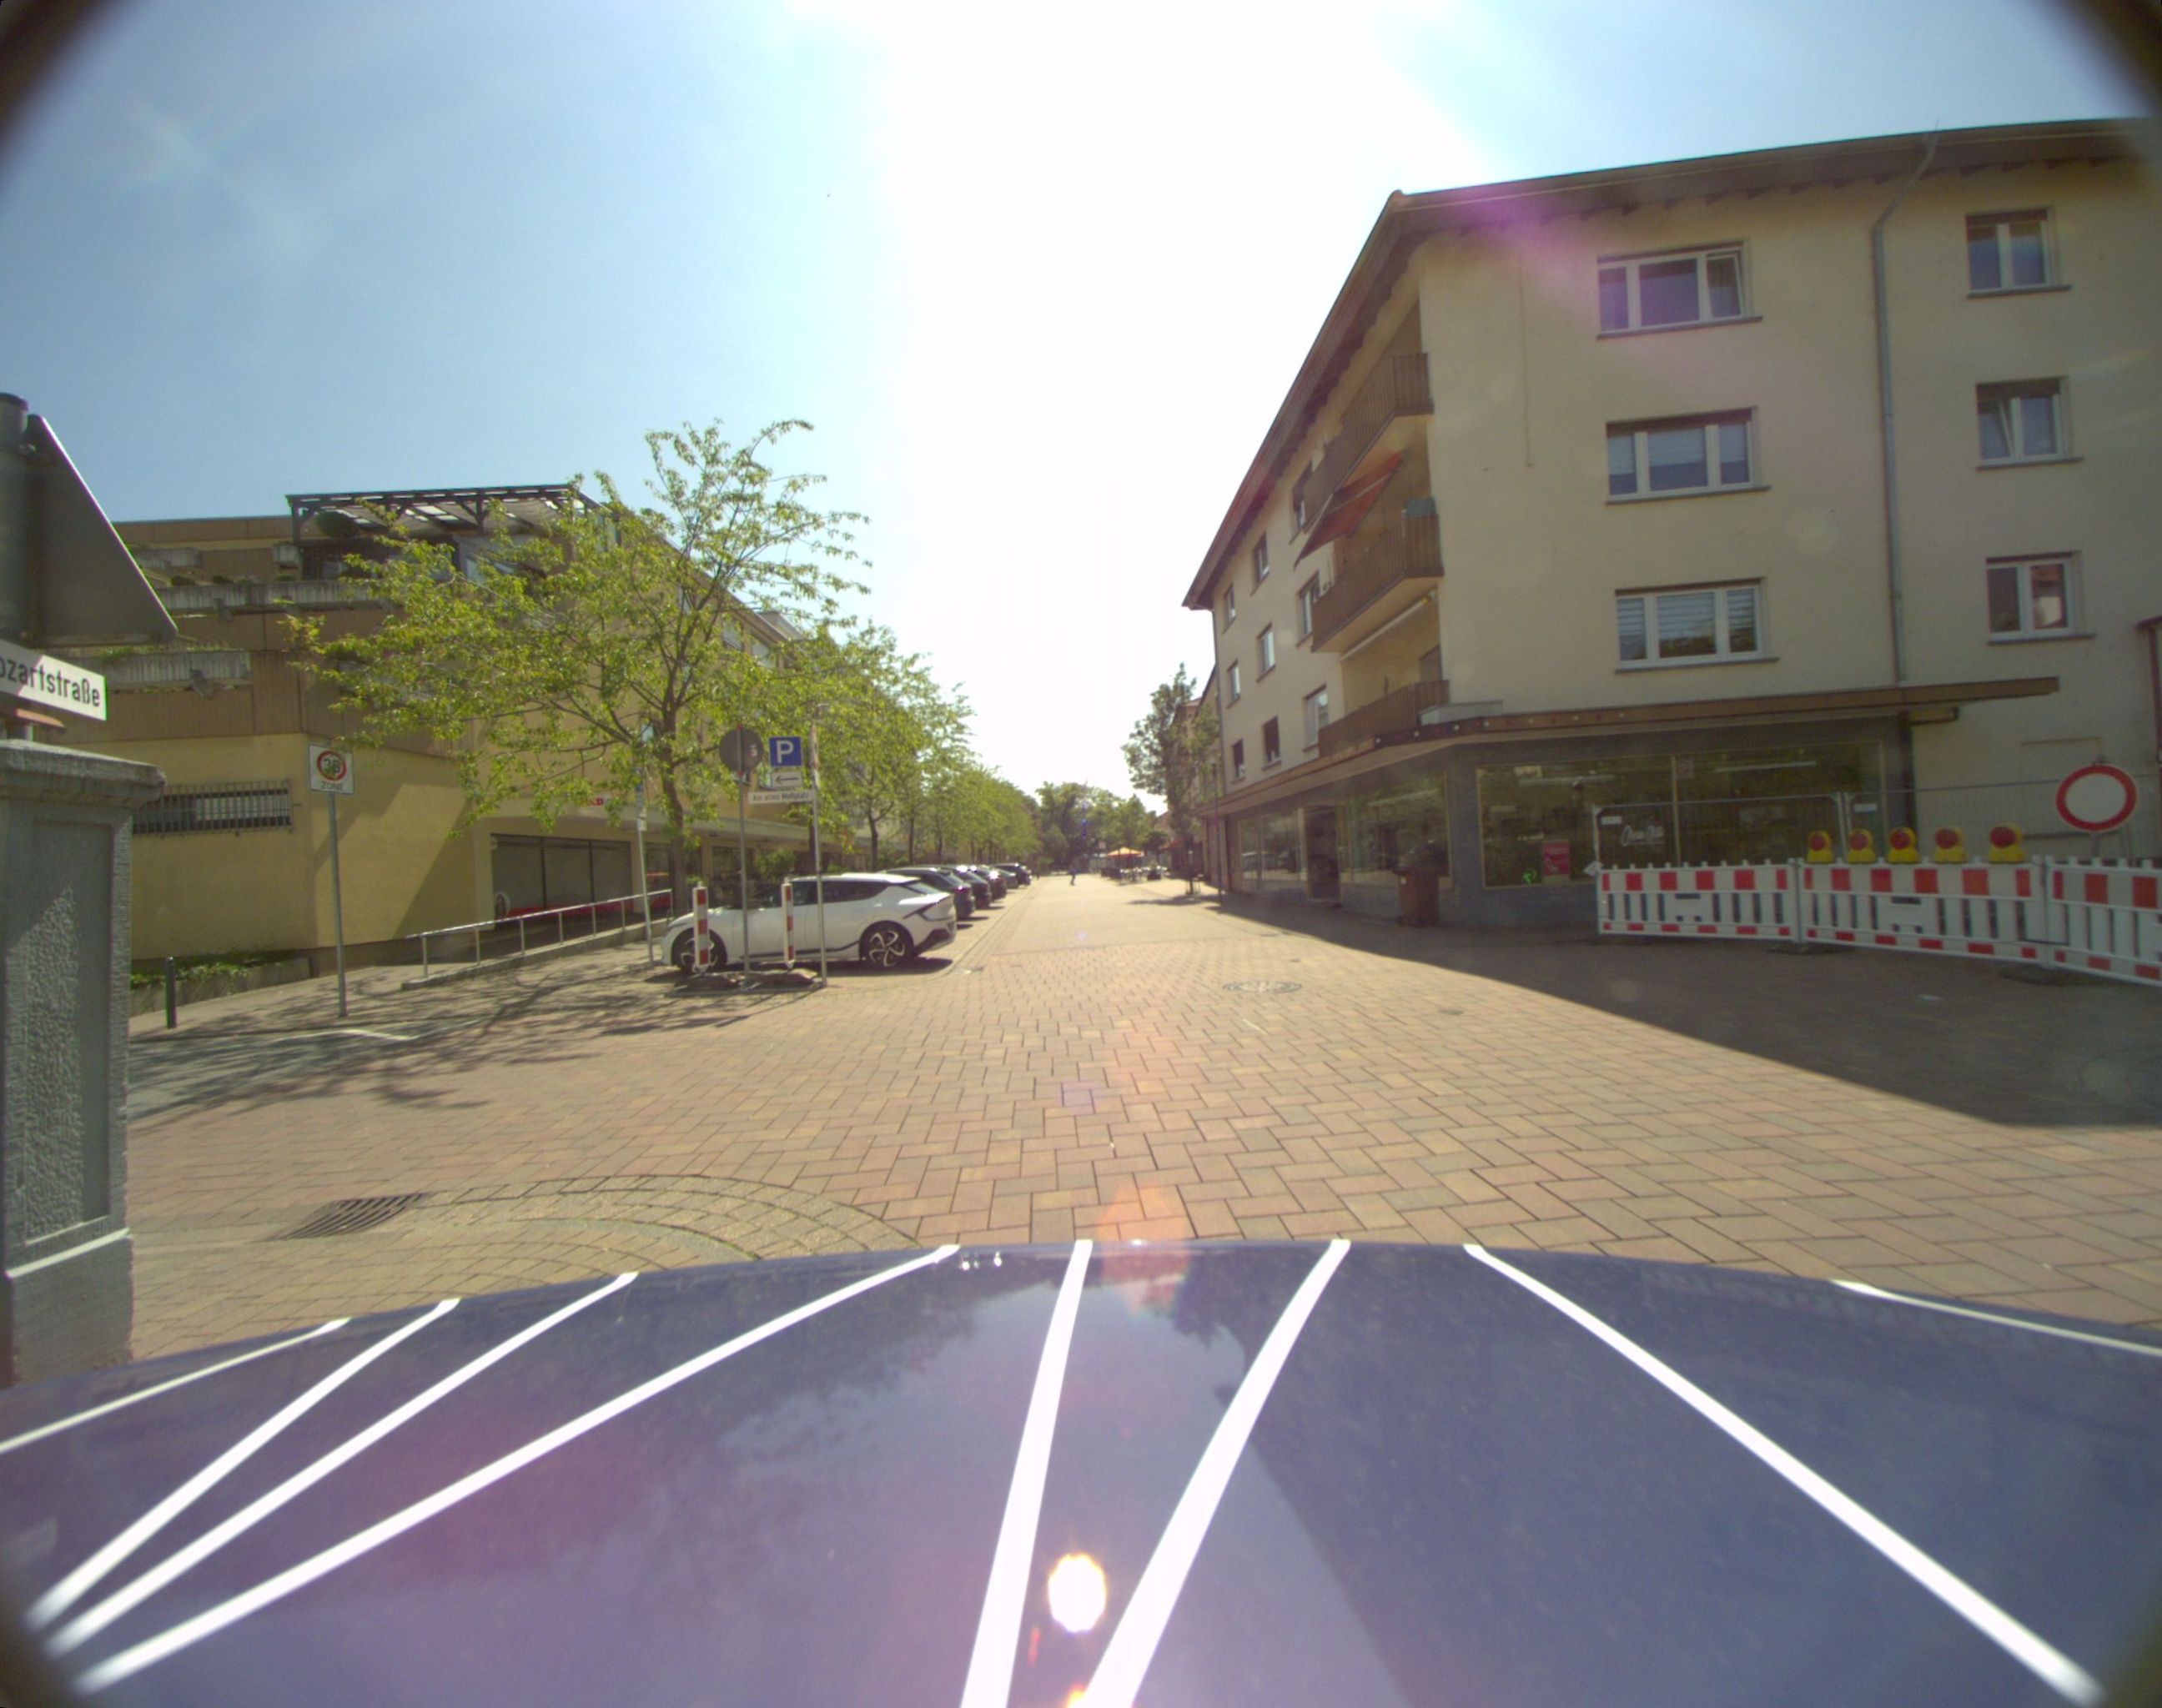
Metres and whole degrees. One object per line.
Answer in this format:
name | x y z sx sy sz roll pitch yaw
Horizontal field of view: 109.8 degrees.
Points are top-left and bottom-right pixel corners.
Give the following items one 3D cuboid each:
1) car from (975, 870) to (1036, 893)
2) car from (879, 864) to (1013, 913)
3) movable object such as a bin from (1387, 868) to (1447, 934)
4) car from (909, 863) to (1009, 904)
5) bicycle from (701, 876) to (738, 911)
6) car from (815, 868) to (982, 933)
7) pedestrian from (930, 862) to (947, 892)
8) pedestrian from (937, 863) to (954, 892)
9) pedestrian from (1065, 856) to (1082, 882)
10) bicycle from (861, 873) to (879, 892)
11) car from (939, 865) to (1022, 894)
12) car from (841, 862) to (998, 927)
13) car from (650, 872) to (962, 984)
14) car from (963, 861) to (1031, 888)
car | -6.039 2.186 61.158 4.586 1.534 1.807 -4 -1 -1
car | -4.876 1.243 27.878 4.519 1.579 1.850 -2 0 0
movable object such as a bin | 5.880 0.810 13.320 0.657 1.064 0.663 -4 0 -8
car | -5.191 1.249 32.737 4.038 1.602 1.681 -1 0 -3
bicycle | -12.883 1.382 27.121 0.413 1.117 1.774 -4 0 0
car | -4.701 1.182 19.998 3.955 1.525 1.823 -1 0 -3
pedestrian | -8.602 1.374 45.803 0.632 1.762 0.685 -4 0 -39
pedestrian | -8.384 1.444 47.098 0.614 1.720 0.649 -4 1 33
pedestrian | -0.504 1.064 53.768 0.758 1.770 0.872 -3 0 33
bicycle | -13.358 1.788 48.120 0.643 1.075 1.866 -4 0 -2
car | -5.787 1.427 43.701 4.391 1.455 1.888 -2 0 -20
car | -4.735 1.170 22.774 4.291 1.671 2.000 -2 0 -4
car | -4.341 1.151 12.541 4.452 1.566 1.789 -2 0 -1
car | -5.459 1.304 49.833 4.255 1.608 1.756 -2 0 -3
